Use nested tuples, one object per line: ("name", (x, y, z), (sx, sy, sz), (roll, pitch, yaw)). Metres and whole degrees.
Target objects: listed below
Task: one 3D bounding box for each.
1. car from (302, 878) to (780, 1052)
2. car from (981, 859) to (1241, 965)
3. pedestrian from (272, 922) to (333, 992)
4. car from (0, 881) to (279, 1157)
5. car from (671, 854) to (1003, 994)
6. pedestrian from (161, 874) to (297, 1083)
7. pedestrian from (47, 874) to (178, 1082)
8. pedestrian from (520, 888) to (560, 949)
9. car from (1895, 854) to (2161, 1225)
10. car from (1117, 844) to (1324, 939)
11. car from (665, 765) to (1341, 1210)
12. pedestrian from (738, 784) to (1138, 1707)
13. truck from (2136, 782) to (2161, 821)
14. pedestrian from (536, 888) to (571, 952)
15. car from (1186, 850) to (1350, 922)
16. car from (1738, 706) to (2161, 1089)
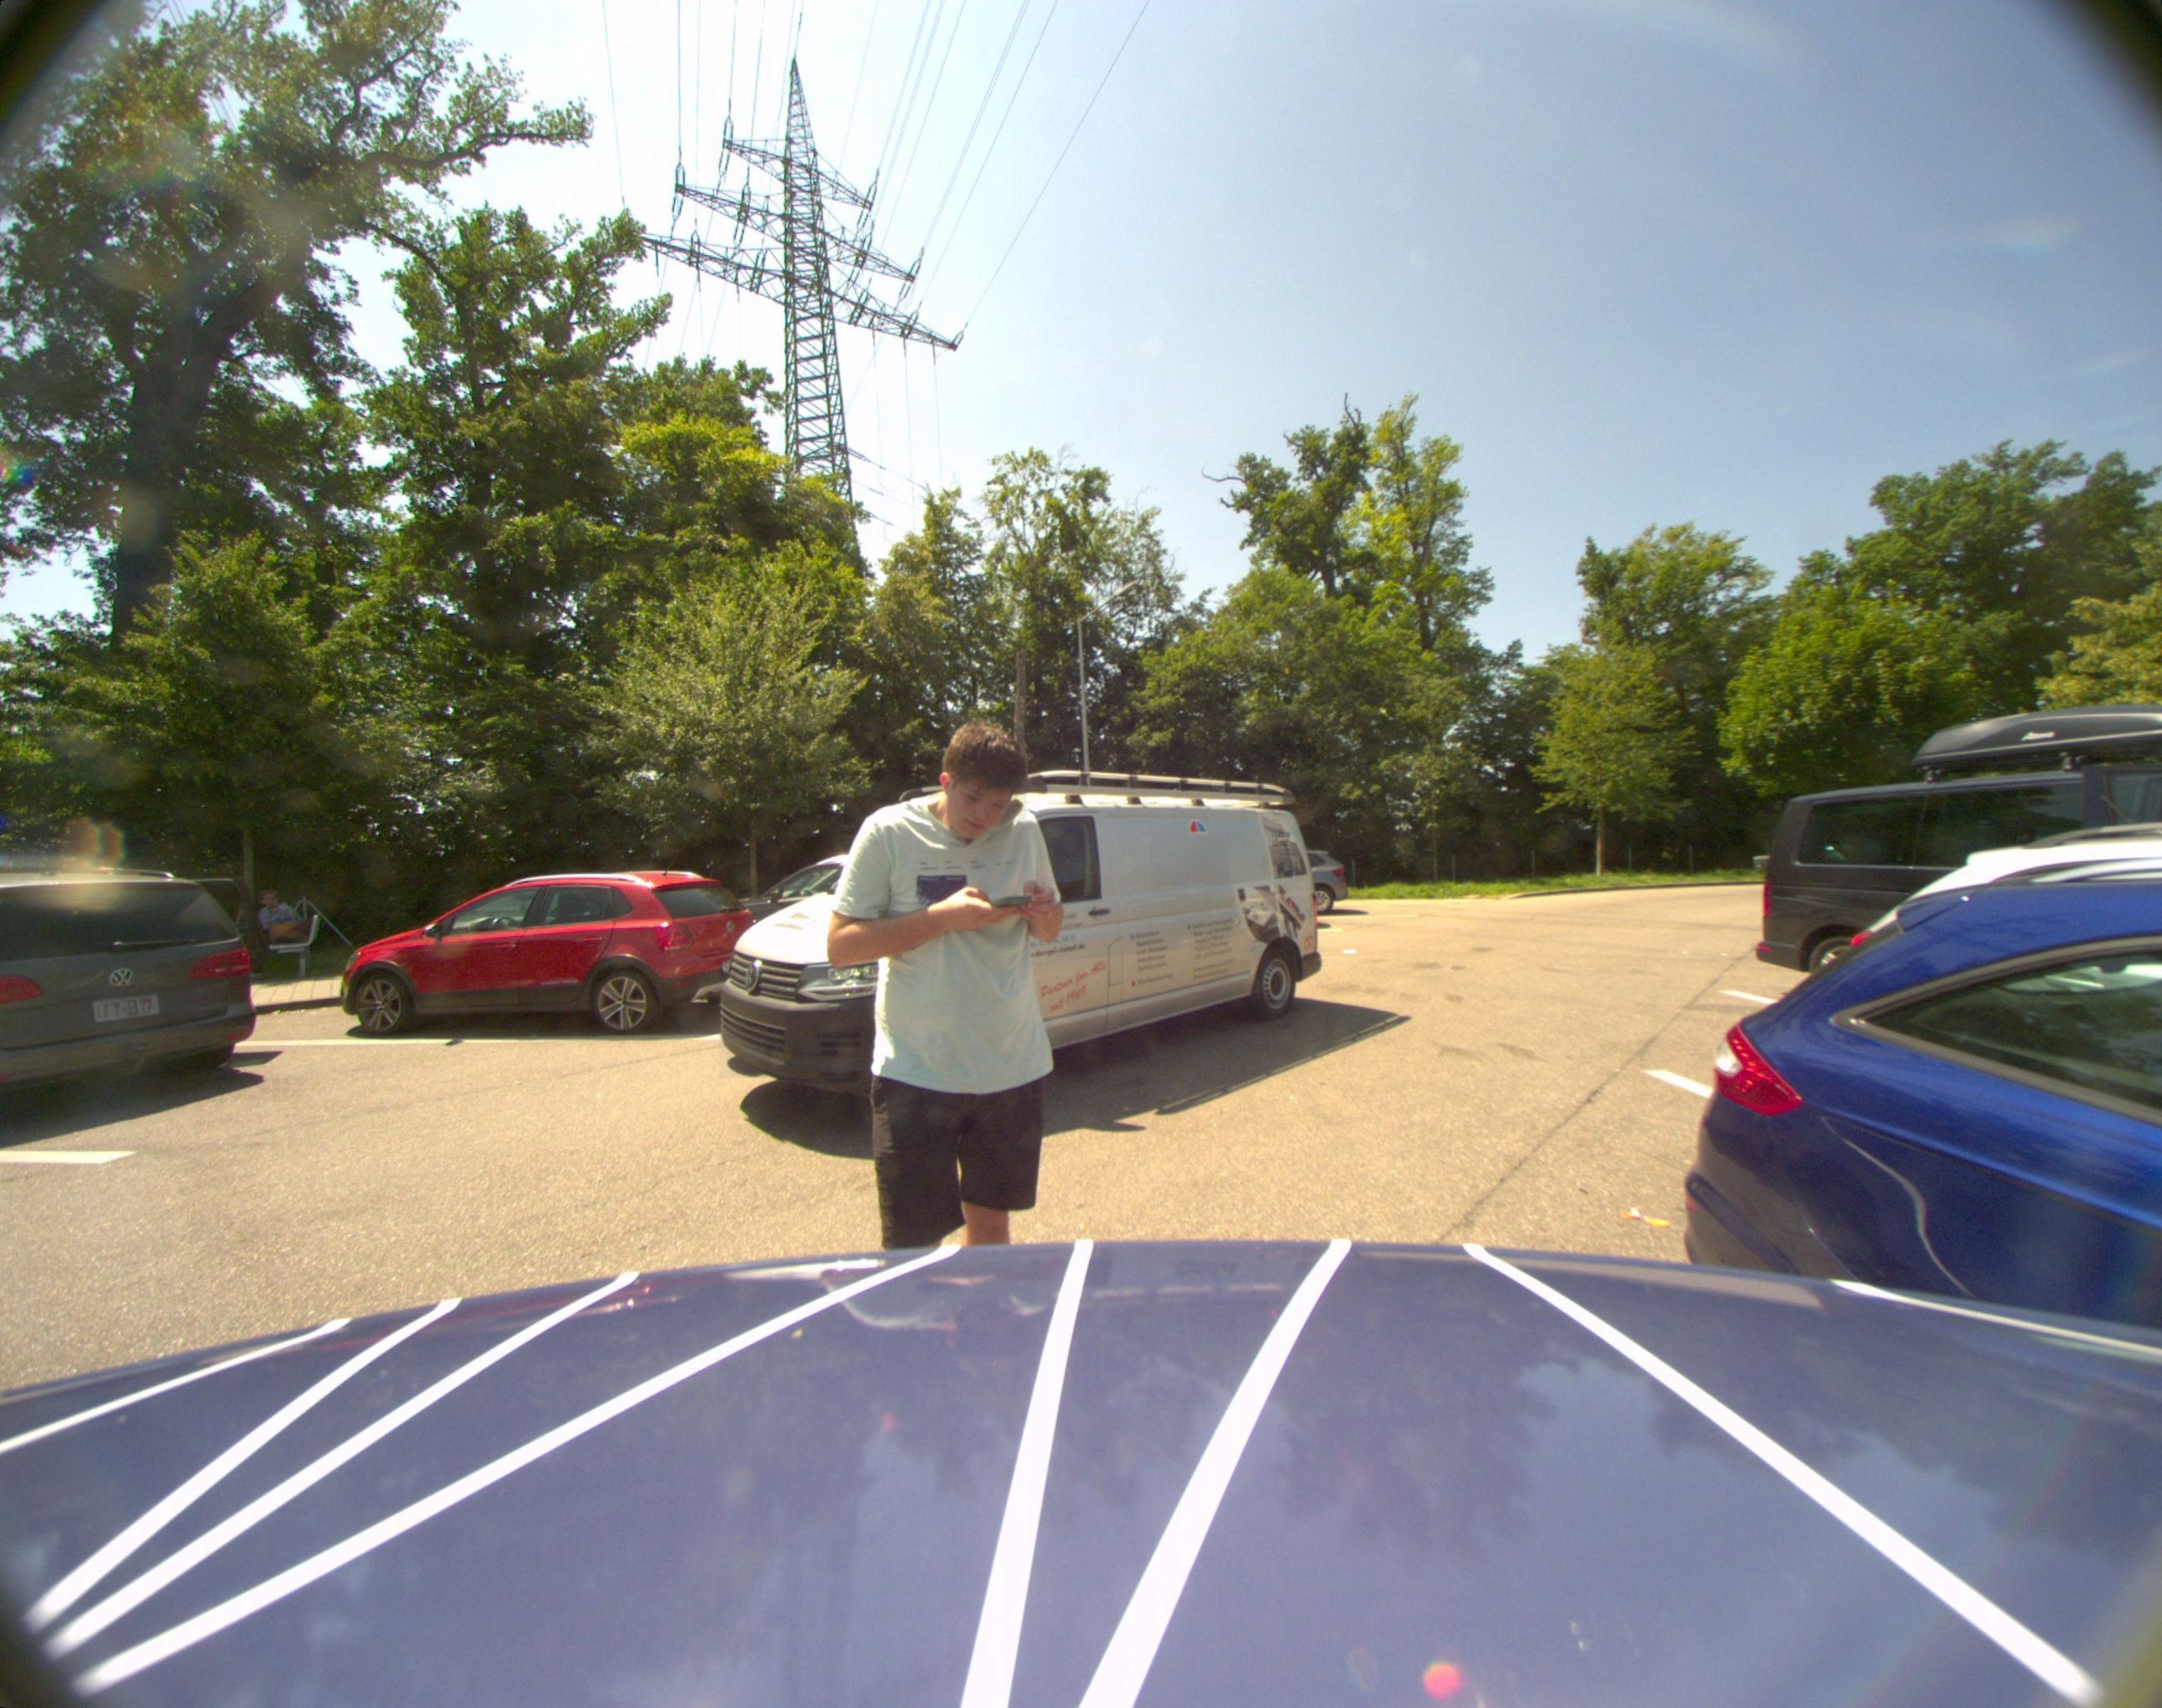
("car", (-5.246, 1.048, 7.644), (3.745, 1.458, 1.621), (-2, 0, 7))
("car", (0.494, 0.873, 12.093), (3.773, 1.445, 1.848), (-2, 0, 4))
("pedestrian", (-10.812, 1.419, 10.564), (0.503, 0.874, 0.512), (-3, 1, -39))
("car", (-8.372, 1.093, 5.444), (3.903, 1.607, 1.705), (-2, 1, 11))
("car", (-3.116, 0.878, 10.265), (3.866, 1.607, 1.709), (-2, 0, 0))
("pedestrian", (-7.444, 1.048, 6.654), (0.481, 1.712, 0.589), (-2, 1, 22))
("pedestrian", (-8.405, 1.046, 6.606), (0.436, 1.712, 0.511), (-2, 1, 17))
("pedestrian", (-10.909, 1.290, 15.324), (0.413, 1.186, 0.443), (-2, 1, 12))
("car", (4.688, 0.688, 2.186), (1.344, 1.352, 3.114), (-2, 0, 1))
("car", (2.711, 0.717, 15.350), (3.850, 1.678, 1.755), (-2, 0, 4))
("car", (-0.056, 0.592, 6.137), (5.445, 2.092, 1.839), (-2, 1, -45))
("pedestrian", (-0.369, 0.775, 1.897), (0.741, 1.818, 0.613), (-2, 0, -34))
("truck", (40.258, -1.973, 27.070), (1.168, 1.367, 2.882), (-2, -1, -19))
("pedestrian", (-10.201, 1.269, 14.686), (0.366, 1.186, 0.356), (-2, 1, 21))
("car", (4.349, 0.733, 18.102), (3.585, 1.493, 1.707), (-2, 1, 8))
("car", (7.325, 0.246, 5.232), (1.788, 2.304, 4.084), (-2, 0, -5))
